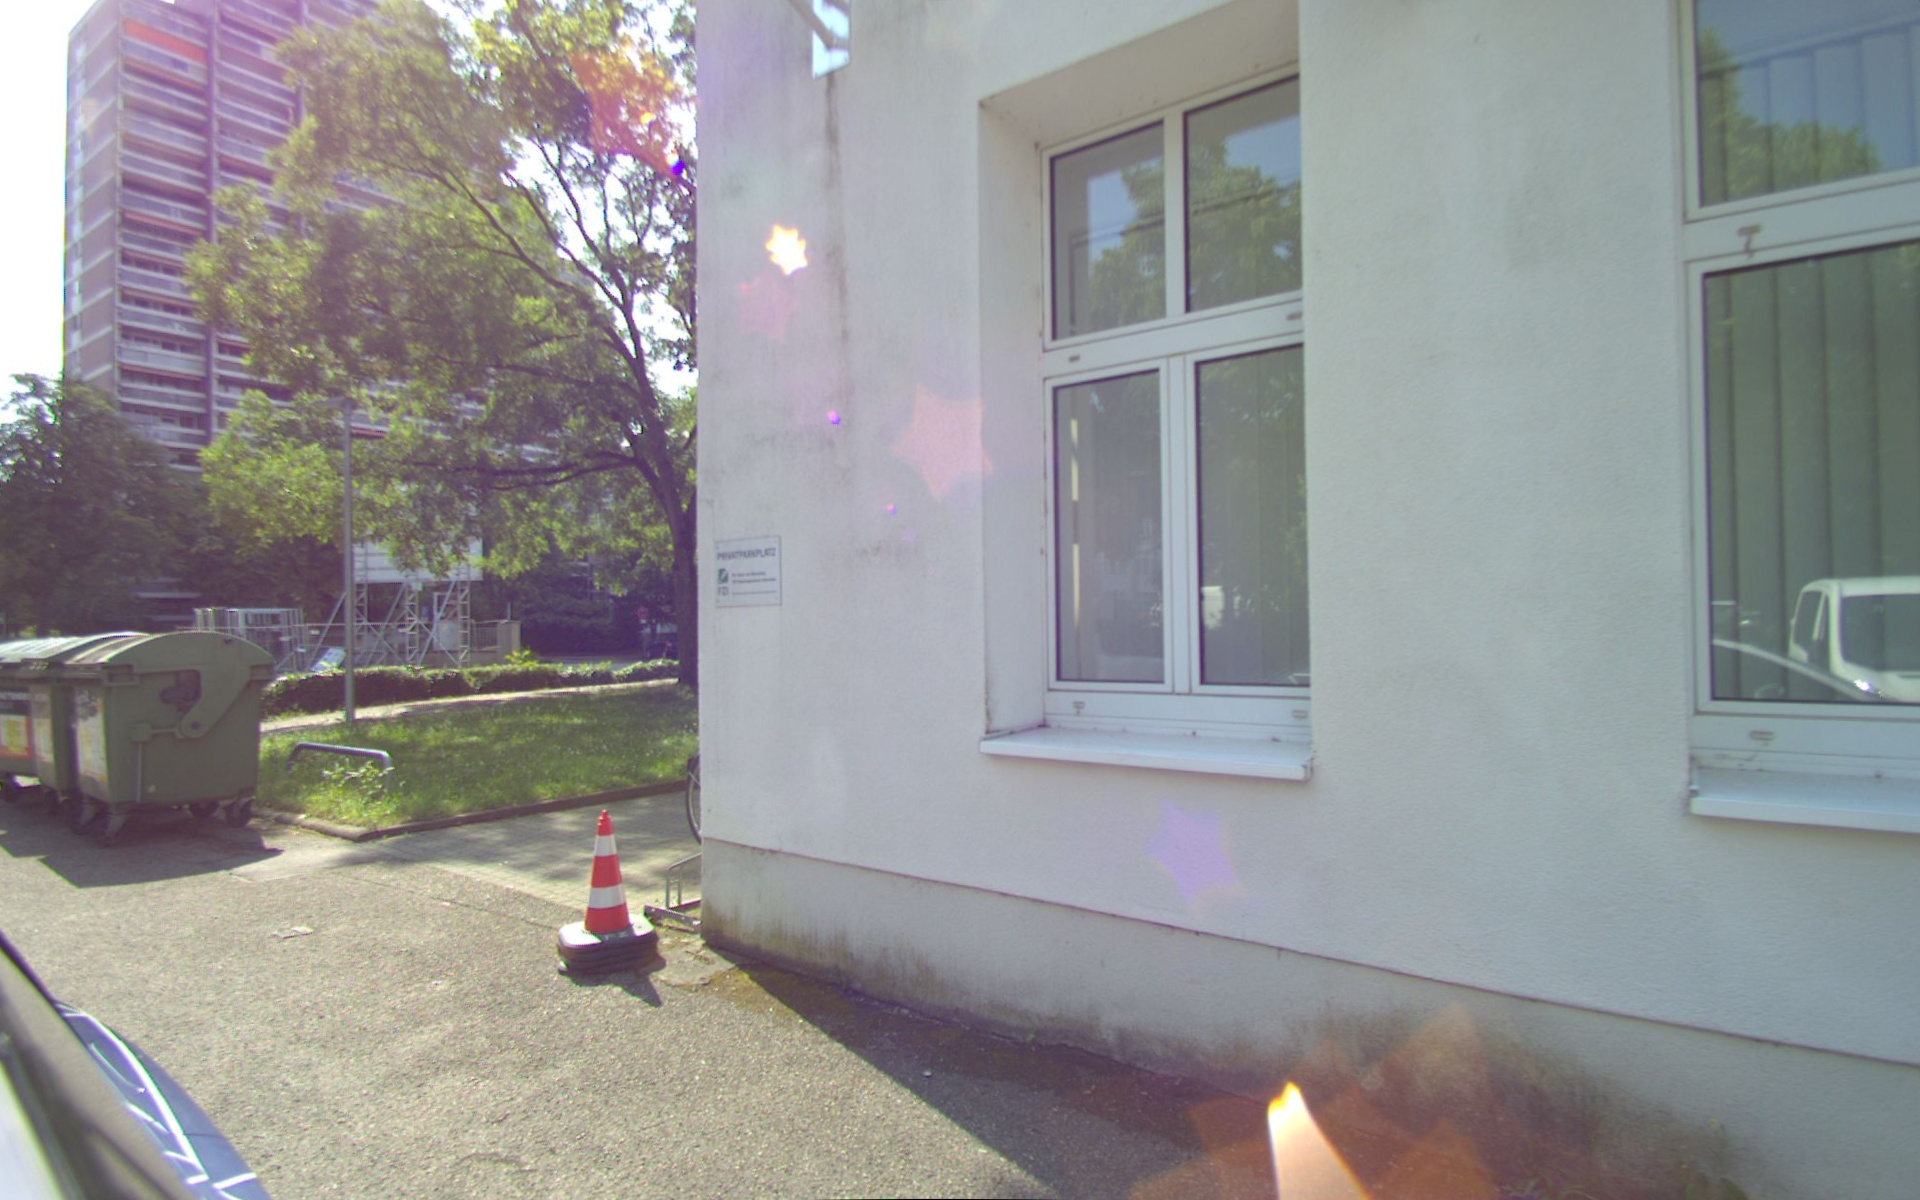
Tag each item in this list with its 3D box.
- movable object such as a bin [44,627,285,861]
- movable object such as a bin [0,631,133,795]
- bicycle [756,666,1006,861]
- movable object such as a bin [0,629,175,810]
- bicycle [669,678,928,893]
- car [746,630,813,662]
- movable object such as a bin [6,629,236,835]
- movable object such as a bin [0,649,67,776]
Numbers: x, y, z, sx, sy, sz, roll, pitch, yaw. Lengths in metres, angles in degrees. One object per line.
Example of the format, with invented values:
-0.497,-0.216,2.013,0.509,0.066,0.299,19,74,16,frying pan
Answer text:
-5.843,0.960,7.439,1.341,1.462,1.089,0,1,38,movable object such as a bin
-9.207,1.098,10.100,1.339,1.462,1.091,-4,-1,33,movable object such as a bin
-0.565,1.004,6.614,1.856,1.045,0.316,0,2,36,bicycle
-8.191,1.044,9.272,1.227,1.462,1.094,-3,0,25,movable object such as a bin
-1.033,1.053,6.135,1.856,1.045,0.316,0,2,36,bicycle
-9.813,2.484,54.884,1.754,1.475,4.244,5,-3,-38,car
-6.932,1.013,8.372,1.281,1.462,1.212,-3,0,39,movable object such as a bin
-11.992,1.372,12.534,1.229,1.493,1.299,0,-2,-34,movable object such as a bin
